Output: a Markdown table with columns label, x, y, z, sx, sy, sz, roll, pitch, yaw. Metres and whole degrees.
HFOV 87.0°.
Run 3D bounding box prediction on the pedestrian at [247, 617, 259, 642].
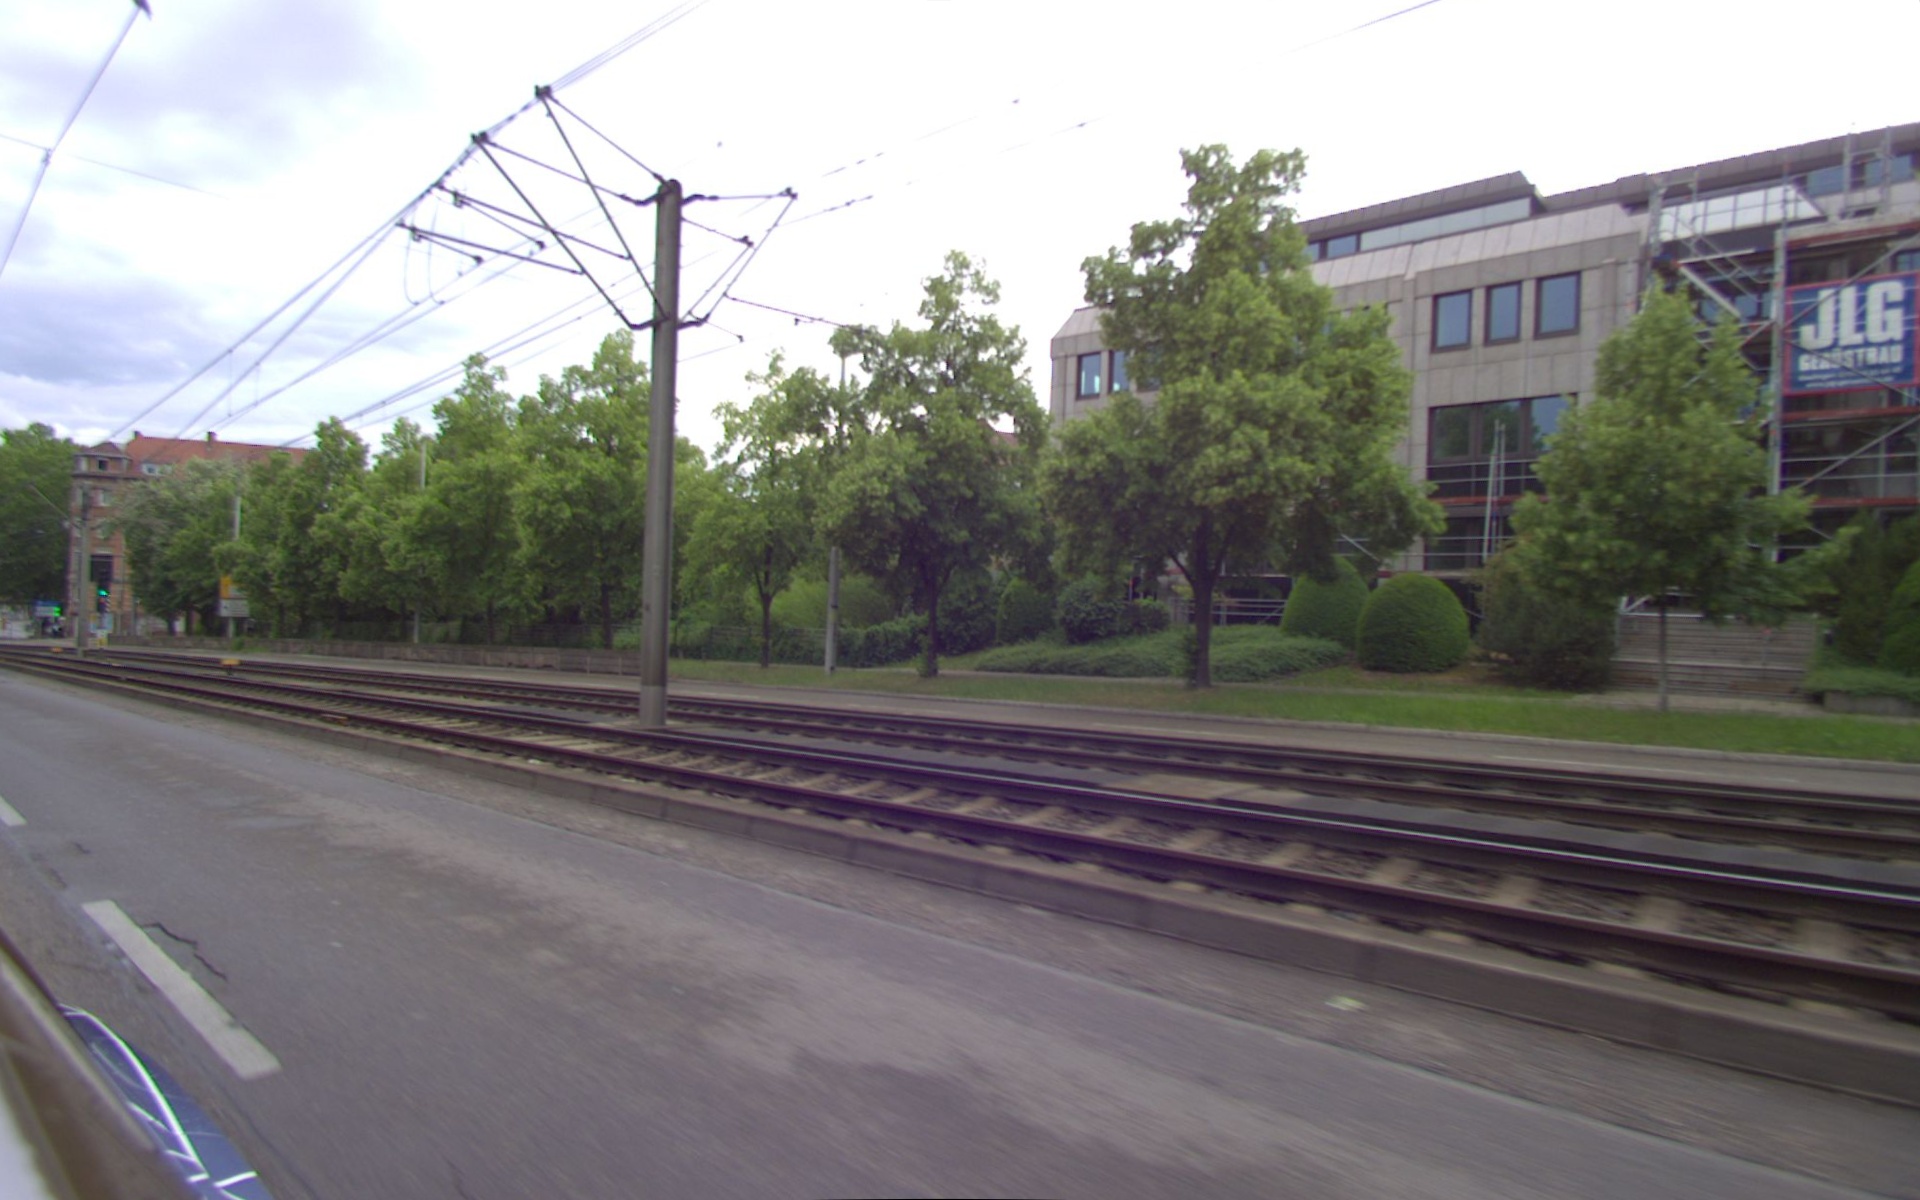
| label | x | y | z | sx | sy | sz | roll | pitch | yaw |
| --- | --- | --- | --- | --- | --- | --- | --- | --- | --- |
| pedestrian | -54.789 | 2.315 | 78.394 | 0.653 | 1.917 | 0.590 | -1 | -2 | 38 |
